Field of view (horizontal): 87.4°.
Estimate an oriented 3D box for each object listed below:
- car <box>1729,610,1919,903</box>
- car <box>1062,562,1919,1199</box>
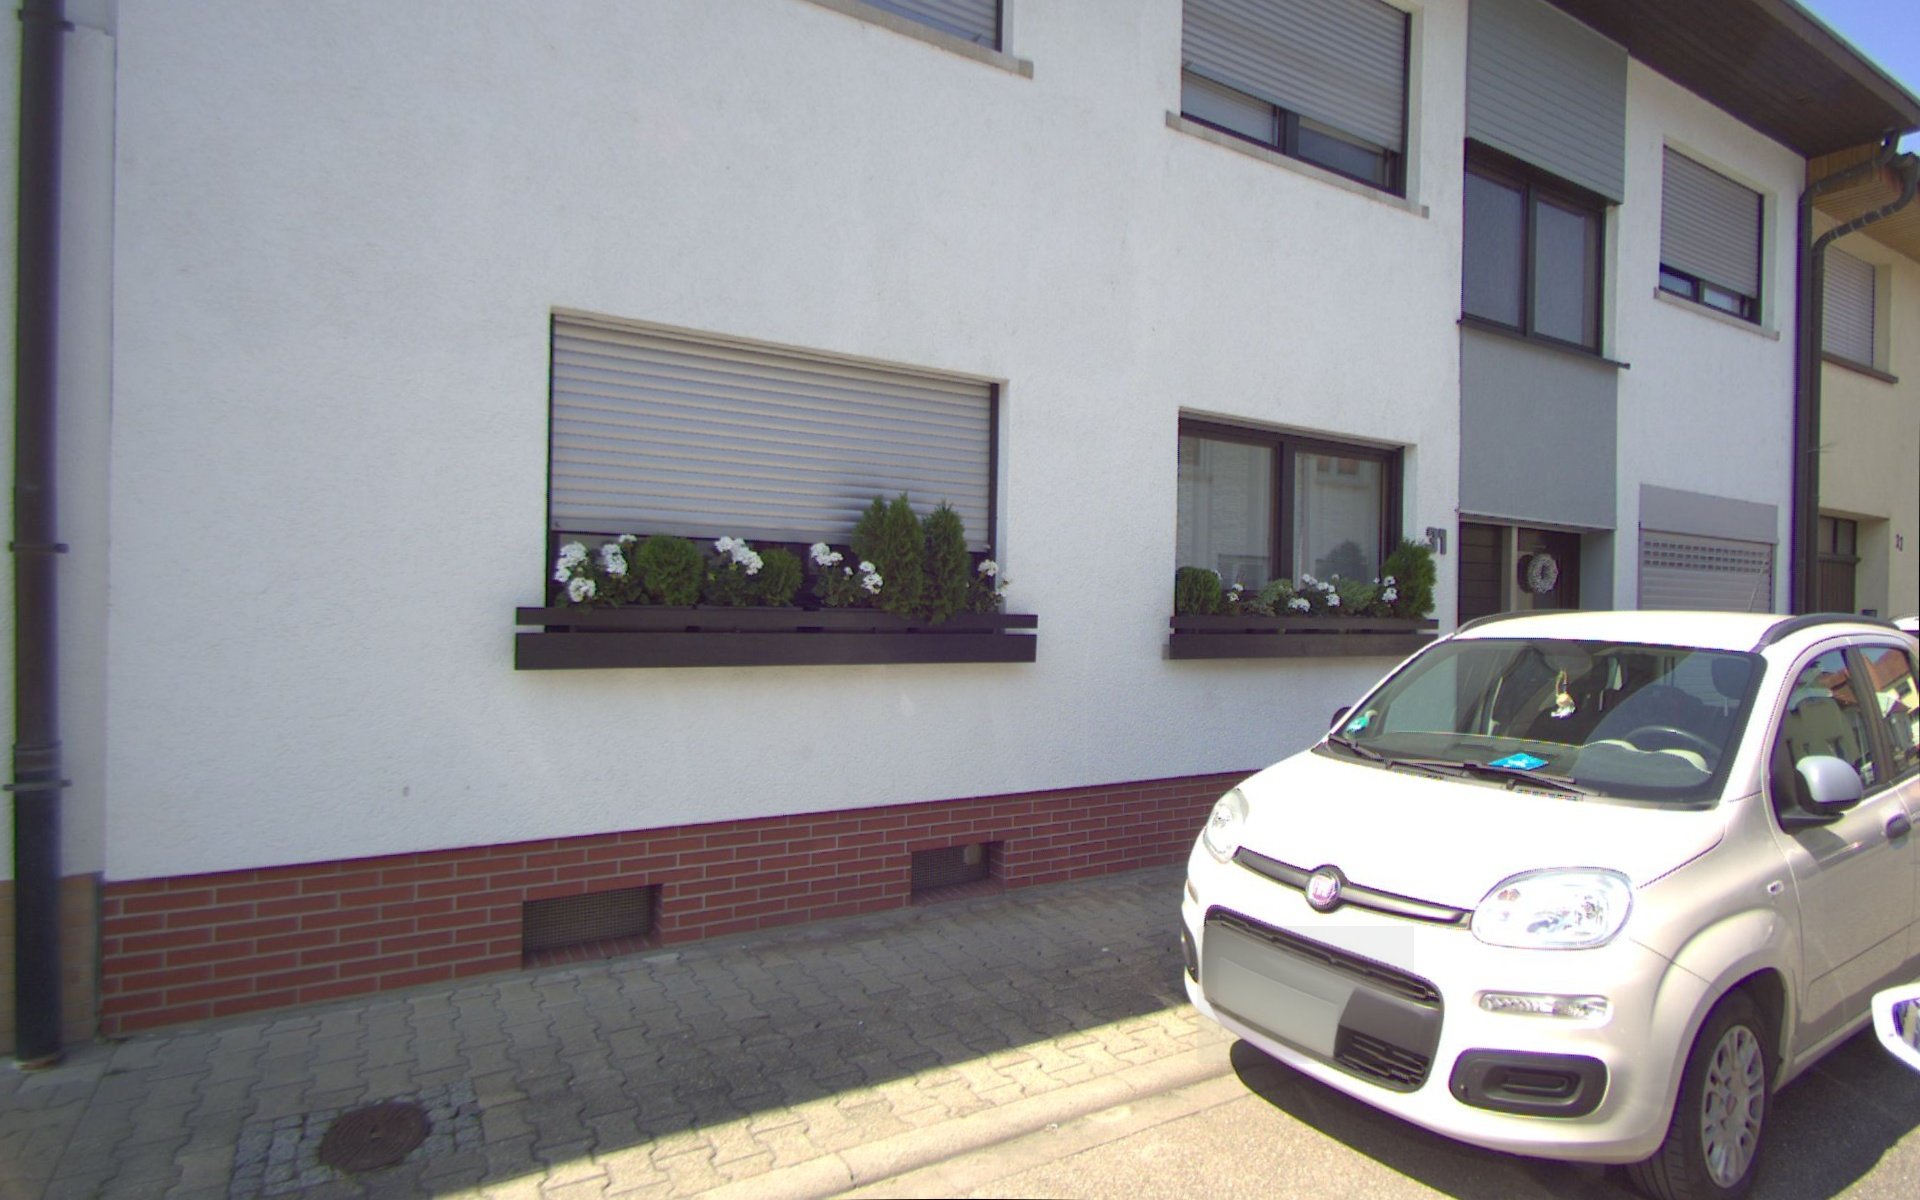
[{"bbox_3d":[6.803,0.891,6.555,3.901,1.569,1.653,1,0,-34],"label":"car"},{"bbox_3d":[2.316,0.767,3.713,3.650,1.562,1.653,2,-2,-34],"label":"car"}]
